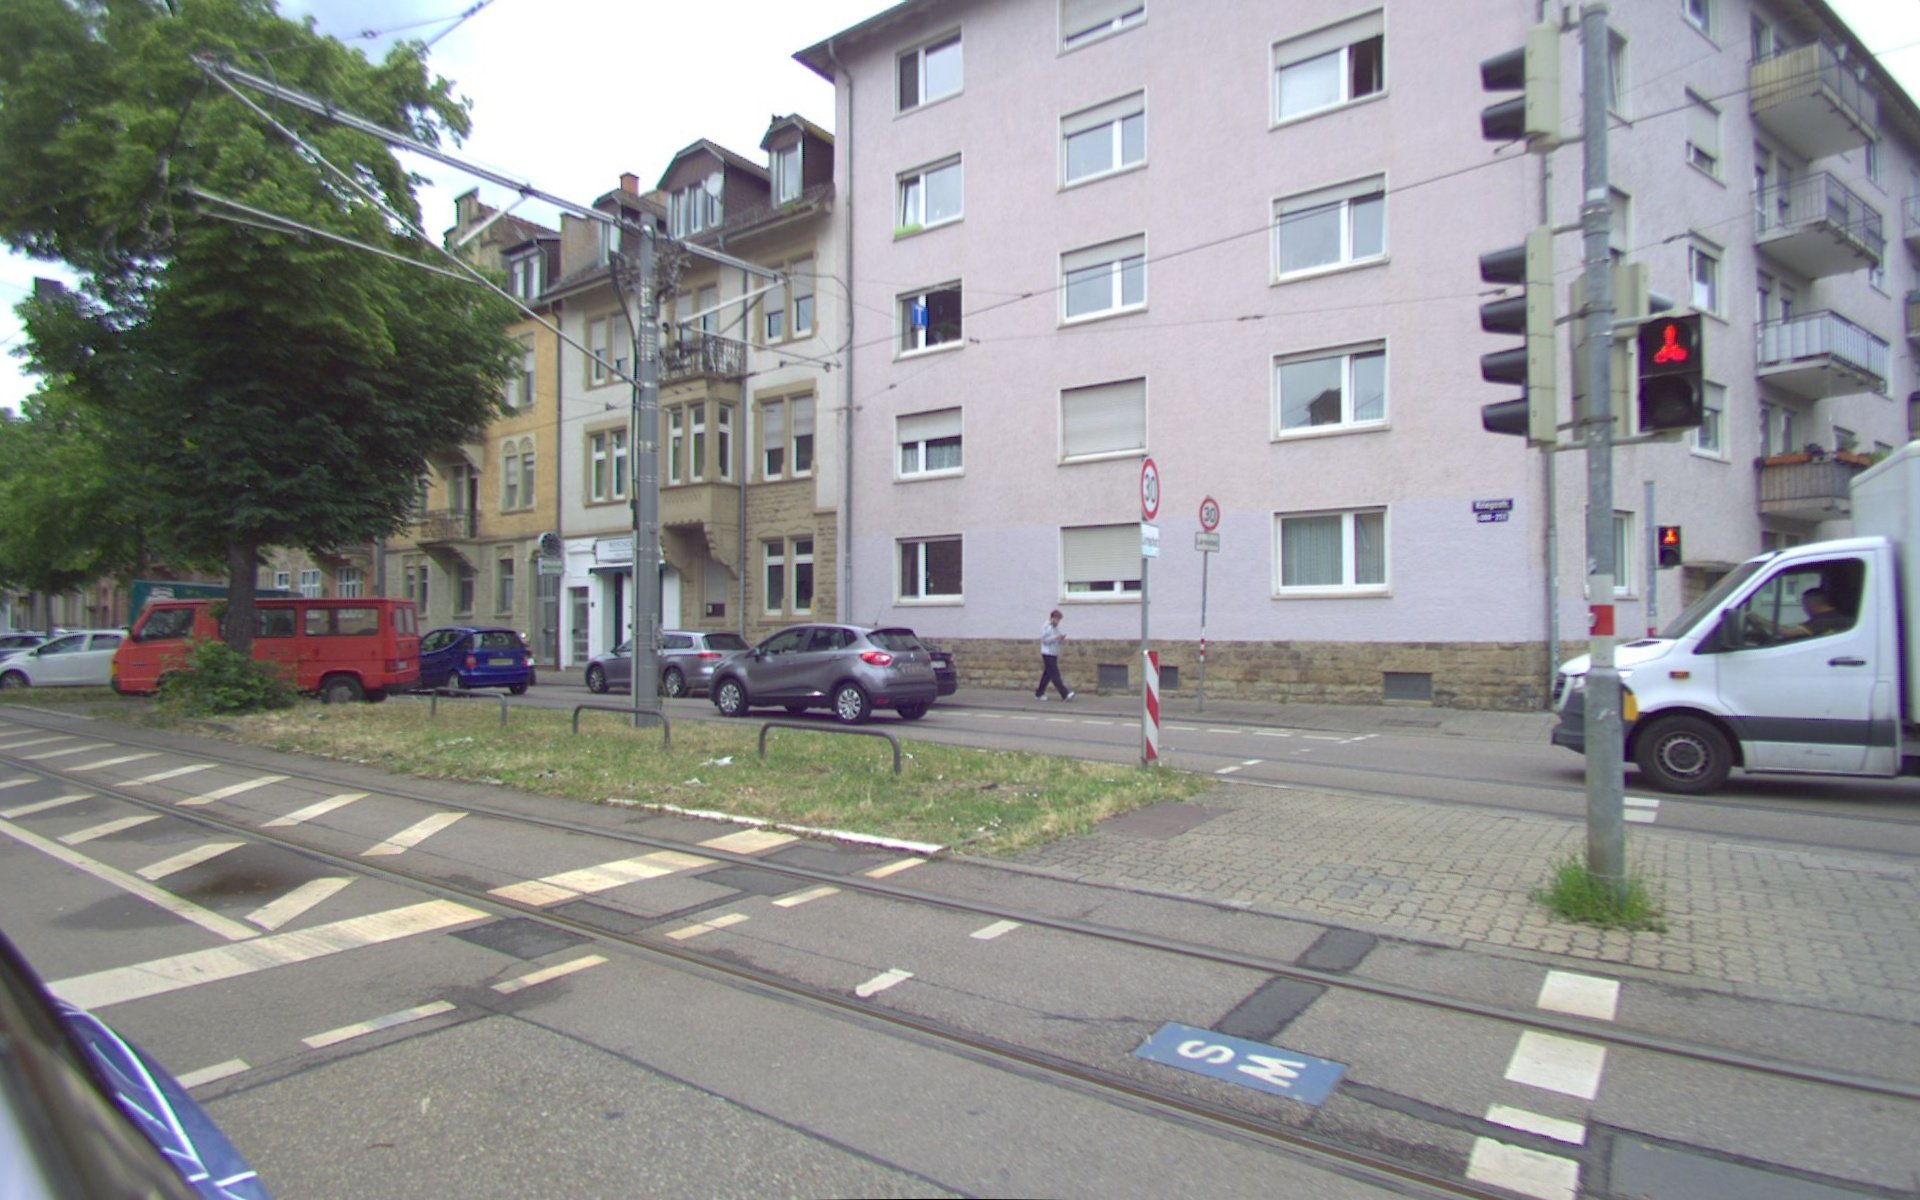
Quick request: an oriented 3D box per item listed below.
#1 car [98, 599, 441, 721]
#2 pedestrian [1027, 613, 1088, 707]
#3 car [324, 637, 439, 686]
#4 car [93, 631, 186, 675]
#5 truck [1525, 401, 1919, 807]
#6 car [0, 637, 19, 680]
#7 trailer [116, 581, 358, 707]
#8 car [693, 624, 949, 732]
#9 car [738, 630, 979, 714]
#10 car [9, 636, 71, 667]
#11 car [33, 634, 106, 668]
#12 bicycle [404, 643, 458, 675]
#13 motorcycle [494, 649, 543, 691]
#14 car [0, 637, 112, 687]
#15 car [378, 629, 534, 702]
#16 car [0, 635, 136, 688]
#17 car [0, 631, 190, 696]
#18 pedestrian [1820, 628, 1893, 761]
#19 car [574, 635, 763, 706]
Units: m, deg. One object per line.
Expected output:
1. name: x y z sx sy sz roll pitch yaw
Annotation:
1. car: -12.134 1.018 18.187 4.687 1.989 1.965 0 -2 -16
2. pedestrian: 1.908 1.158 19.779 0.898 1.780 0.791 -2 -3 35
3. car: -18.281 1.908 31.944 3.913 1.454 1.621 -2 -2 34
4. car: -35.278 2.230 43.471 5.106 1.795 1.798 -1 -2 35
5. truck: 8.915 0.031 8.322 7.309 3.181 2.167 -1 -2 33
6. car: -35.469 2.045 34.913 4.049 1.495 1.802 0 -2 -13
7. trailer: -14.515 0.871 20.583 3.607 2.362 1.937 0 -2 -21
8. car: -2.319 1.173 16.442 4.121 1.546 1.630 -1 -2 35
9. car: -2.059 1.337 19.690 4.750 1.454 1.621 -2 -2 34
10. car: -48.996 2.720 53.874 3.714 1.571 1.647 -1 -2 35
11. car: -45.029 2.549 51.149 4.543 1.639 1.725 -1 -2 35
12. bicycle: -18.652 2.054 35.685 2.254 1.081 0.705 -2 -2 34
13. motorcycle: -12.061 1.887 27.590 0.699 1.046 2.235 1 -2 -37
14. car: -28.909 1.871 30.617 4.609 1.446 1.904 0 -2 -15
15. car: -11.652 1.453 23.345 3.619 1.546 1.631 -1 -2 33
16. car: -26.385 1.727 28.695 4.268 1.446 1.903 0 -2 -12
17. car: -21.208 1.513 24.433 3.799 1.474 1.694 0 -2 -12
18. pedestrian: 11.017 1.136 12.441 0.561 1.569 0.535 1 -3 -38
19. car: -6.677 1.539 22.963 4.559 1.454 1.621 -2 -2 34
